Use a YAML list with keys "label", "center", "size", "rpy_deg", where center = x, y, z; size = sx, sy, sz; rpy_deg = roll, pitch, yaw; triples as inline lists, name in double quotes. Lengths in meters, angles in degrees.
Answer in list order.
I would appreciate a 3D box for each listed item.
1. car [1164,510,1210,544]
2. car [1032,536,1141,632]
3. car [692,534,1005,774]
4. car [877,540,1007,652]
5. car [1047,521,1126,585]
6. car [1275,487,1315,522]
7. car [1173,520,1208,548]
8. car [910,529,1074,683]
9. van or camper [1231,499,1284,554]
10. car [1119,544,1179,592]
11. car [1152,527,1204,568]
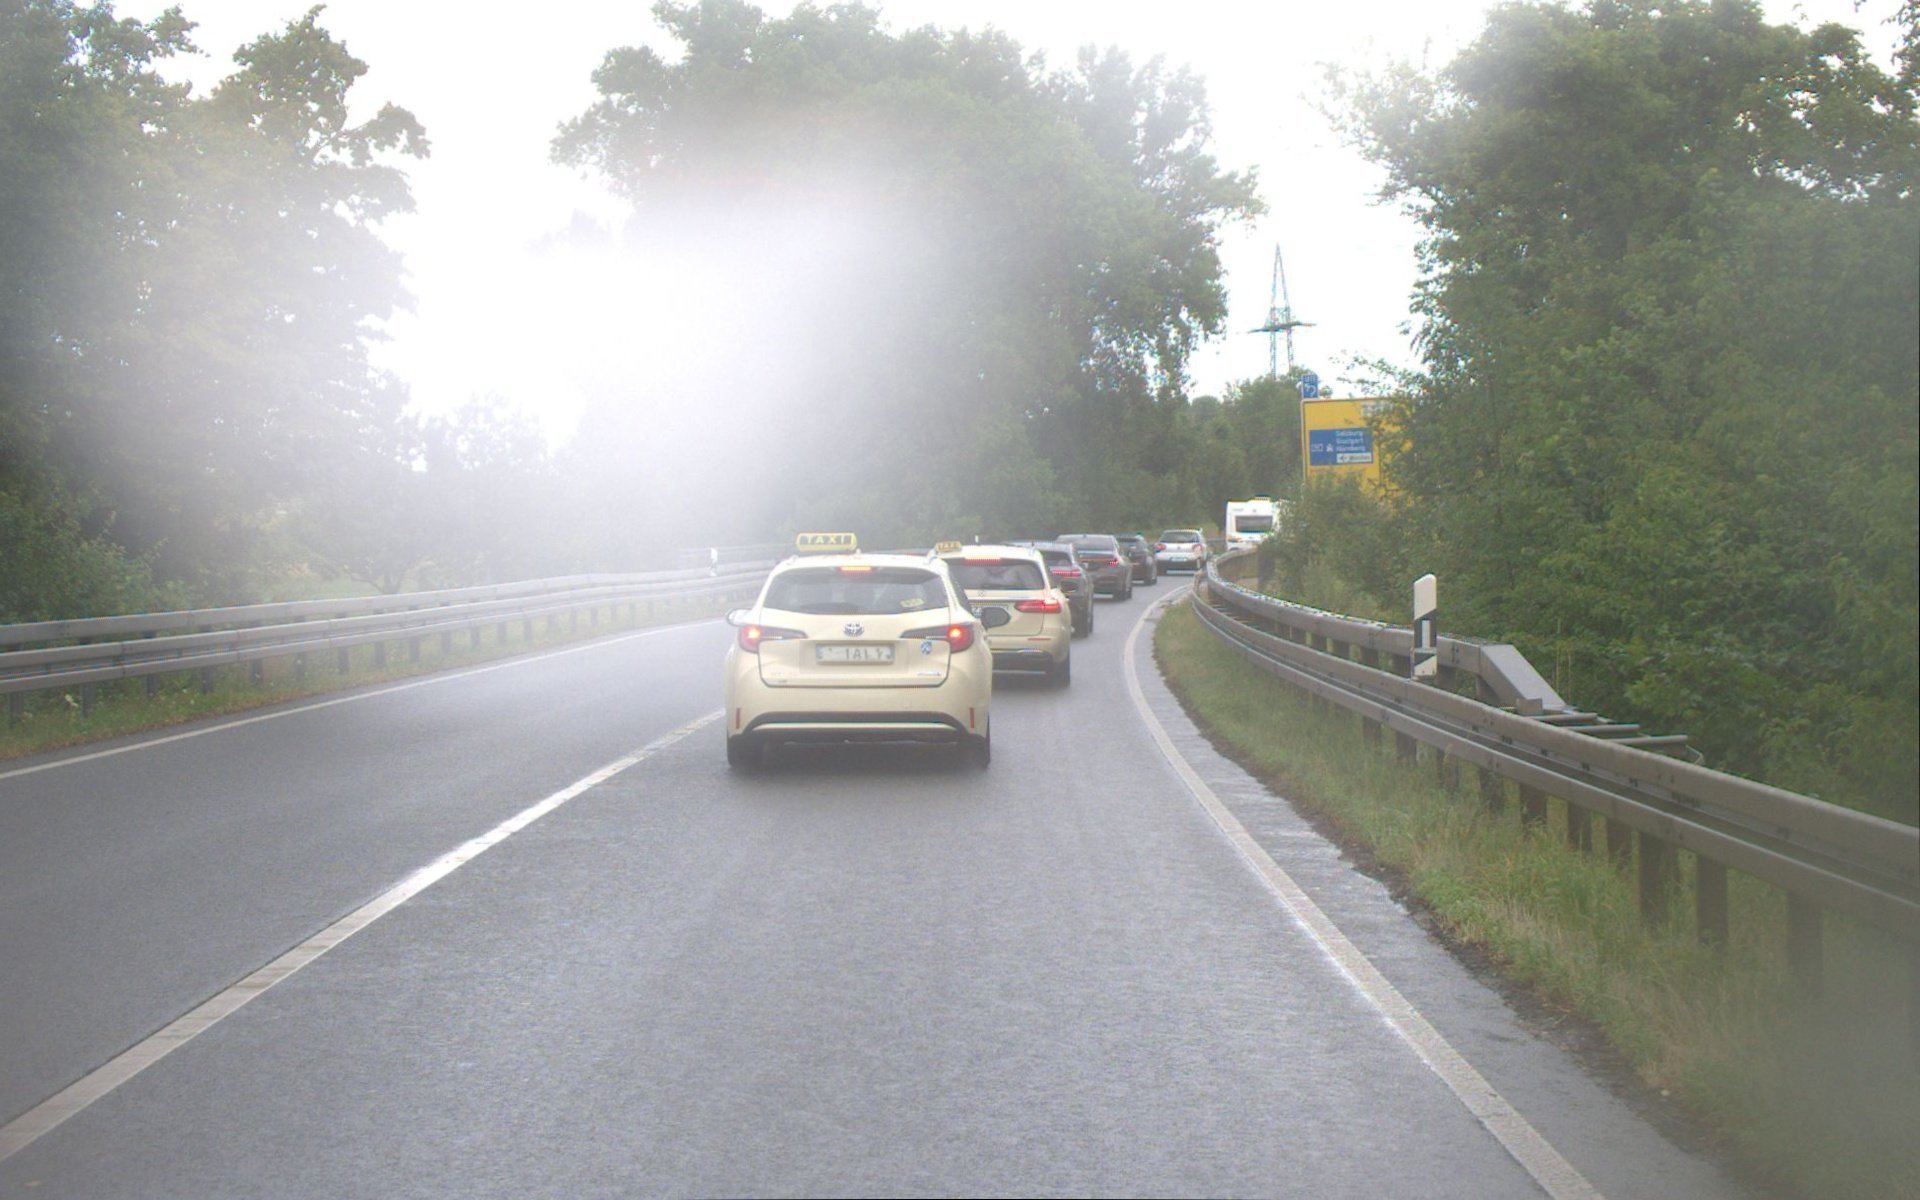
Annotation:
- label: "car"
  center: [8.250, -2.630, 124.832]
  size: [1.373, 1.197, 3.315]
  rpy_deg: [0, 1, 9]
- label: "car"
  center: [1.963, -0.279, 54.222]
  size: [1.665, 1.459, 3.477]
  rpy_deg: [0, 1, 1]
- label: "car"
  center: [-0.689, 0.307, 24.058]
  size: [1.906, 1.532, 4.161]
  rpy_deg: [0, 1, 2]
- label: "car"
  center: [-0.211, -0.079, 46.092]
  size: [1.506, 1.432, 3.355]
  rpy_deg: [0, 1, 4]
- label: "car"
  center: [2.875, -1.033, 77.441]
  size: [1.660, 1.404, 3.904]
  rpy_deg: [0, 0, 4]
- label: "car"
  center: [15.997, -4.541, 164.075]
  size: [1.647, 1.580, 3.681]
  rpy_deg: [0, 1, 10]
- label: "car"
  center: [11.328, -3.235, 168.545]
  size: [1.425, 1.351, 3.225]
  rpy_deg: [0, 1, 9]
- label: "car"
  center: [0.382, 0.023, 36.837]
  size: [1.578, 1.567, 3.681]
  rpy_deg: [0, 1, 3]
- label: "van or camper"
  center: [12.277, -3.019, 141.727]
  size: [1.994, 2.246, 3.999]
  rpy_deg: [0, 1, 7]
- label: "car"
  center: [5.287, -0.908, 95.799]
  size: [1.483, 1.304, 3.476]
  rpy_deg: [0, 1, 6]
- label: "car"
  center: [7.140, -1.719, 112.558]
  size: [1.483, 1.304, 3.476]
  rpy_deg: [0, 1, 7]
